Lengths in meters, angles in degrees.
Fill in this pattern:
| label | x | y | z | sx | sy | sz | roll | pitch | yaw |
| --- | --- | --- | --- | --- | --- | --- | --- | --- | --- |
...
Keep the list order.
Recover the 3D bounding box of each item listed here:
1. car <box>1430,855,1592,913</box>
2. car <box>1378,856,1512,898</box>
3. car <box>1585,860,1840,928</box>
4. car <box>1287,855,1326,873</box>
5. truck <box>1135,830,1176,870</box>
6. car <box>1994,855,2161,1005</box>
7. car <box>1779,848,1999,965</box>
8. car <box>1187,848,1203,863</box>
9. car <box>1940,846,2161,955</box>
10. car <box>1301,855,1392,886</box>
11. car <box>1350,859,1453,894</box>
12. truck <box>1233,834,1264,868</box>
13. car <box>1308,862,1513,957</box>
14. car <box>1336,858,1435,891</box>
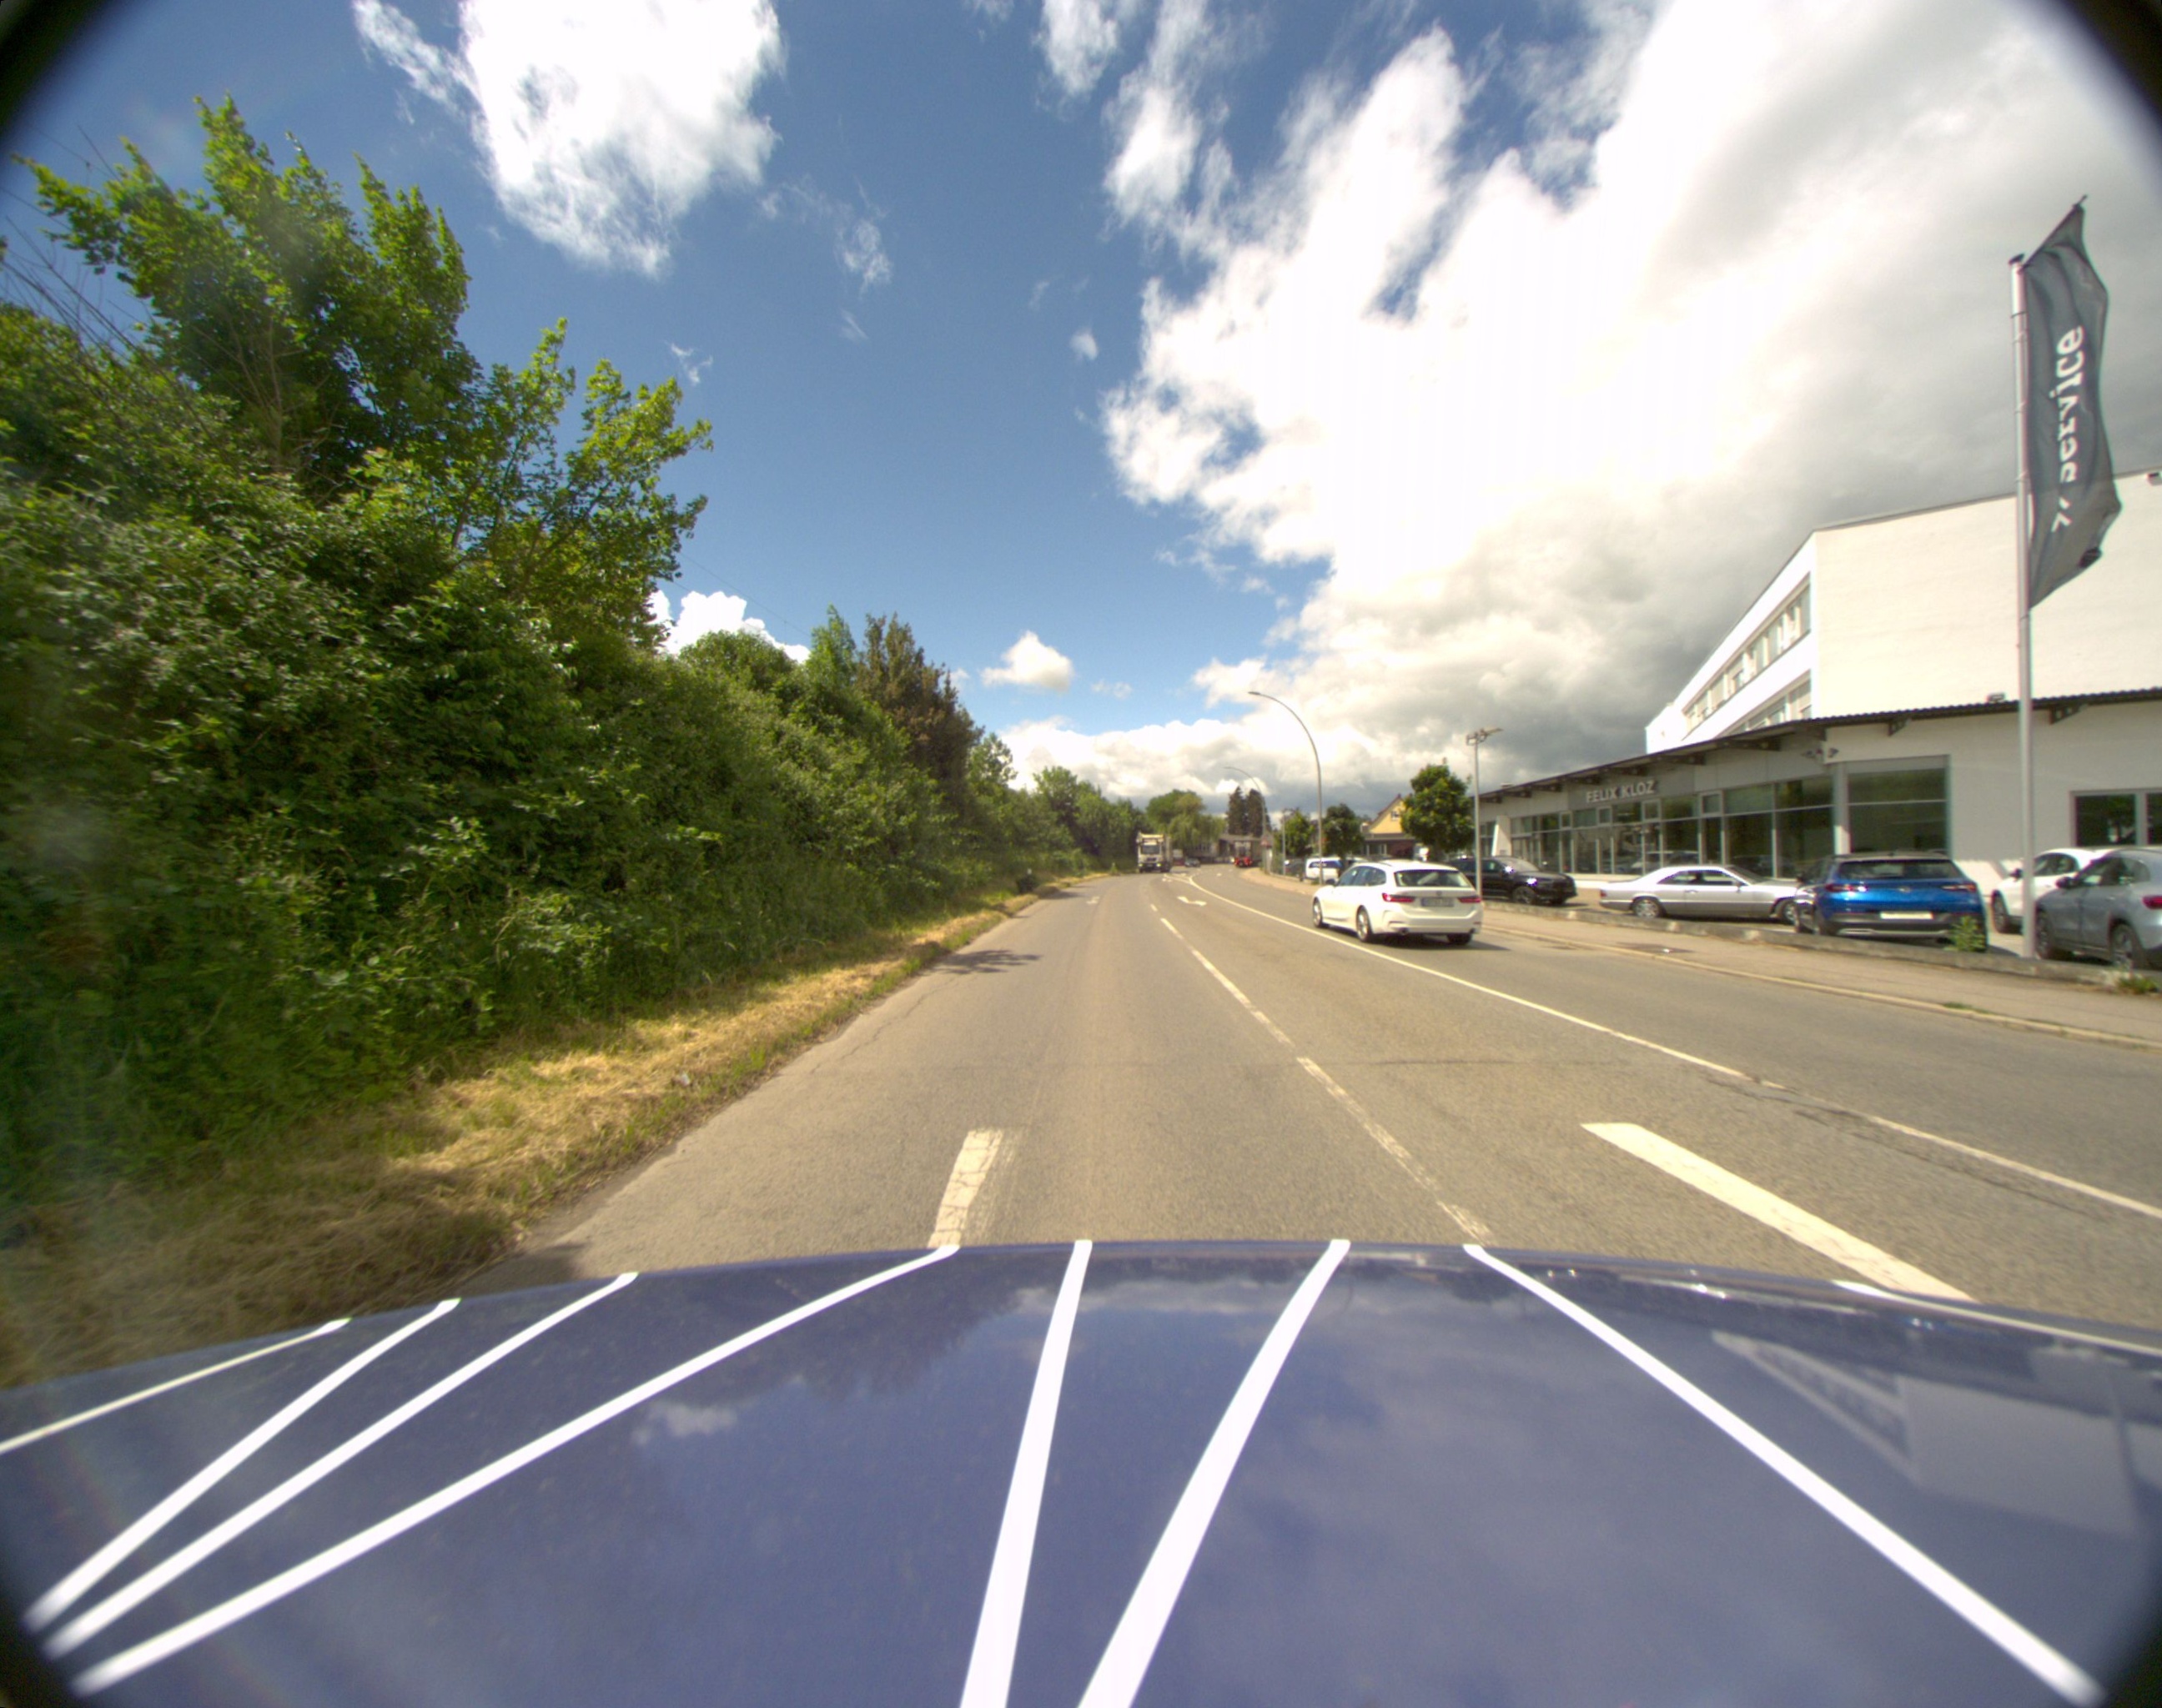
| label | x | y | z | sx | sy | sz | roll | pitch | yaw |
| --- | --- | --- | --- | --- | --- | --- | --- | --- | --- |
| car | 14.033 | 0.962 | 25.096 | 1.806 | 1.615 | 4.344 | -4 | 0 | -25 |
| car | 14.967 | 0.950 | 31.341 | 4.624 | 1.615 | 2.067 | -2 | -1 | 37 |
| car | 15.608 | 0.998 | 19.015 | 1.807 | 1.382 | 4.587 | -5 | 0 | -39 |
| car | 20.194 | 0.893 | 68.233 | 3.261 | 1.565 | 1.583 | 0 | 0 | 12 |
| truck | 7.796 | -0.380 | 78.052 | 2.901 | 3.746 | 9.644 | -1 | 0 | 13 |
| car | 13.626 | 0.815 | 9.464 | 1.869 | 1.556 | 4.531 | -3 | -2 | 37 |
| car | 13.900 | 0.791 | 13.396 | 1.889 | 1.658 | 4.580 | -3 | -1 | 37 |
| car | 16.507 | 0.229 | 109.715 | 1.952 | 2.002 | 4.004 | -1 | 0 | 13 |
| car | 17.084 | 0.715 | 13.115 | 1.799 | 1.615 | 3.963 | -2 | -1 | 30 |
| car | 16.368 | 0.992 | 46.973 | 4.944 | 1.827 | 1.897 | 0 | 0 | 39 |
| car | 14.622 | 1.001 | 34.785 | 3.943 | 1.485 | 1.808 | -1 | 0 | 42 |
| truck | 24.139 | -0.426 | 109.082 | 2.976 | 4.634 | 8.191 | -1 | 0 | 22 |
| car | 5.885 | 0.900 | 14.259 | 1.998 | 1.442 | 4.427 | 0 | 0 | 1 |
| car | 15.907 | 1.088 | 39.772 | 4.496 | 1.615 | 1.808 | -2 | -2 | 36 |
